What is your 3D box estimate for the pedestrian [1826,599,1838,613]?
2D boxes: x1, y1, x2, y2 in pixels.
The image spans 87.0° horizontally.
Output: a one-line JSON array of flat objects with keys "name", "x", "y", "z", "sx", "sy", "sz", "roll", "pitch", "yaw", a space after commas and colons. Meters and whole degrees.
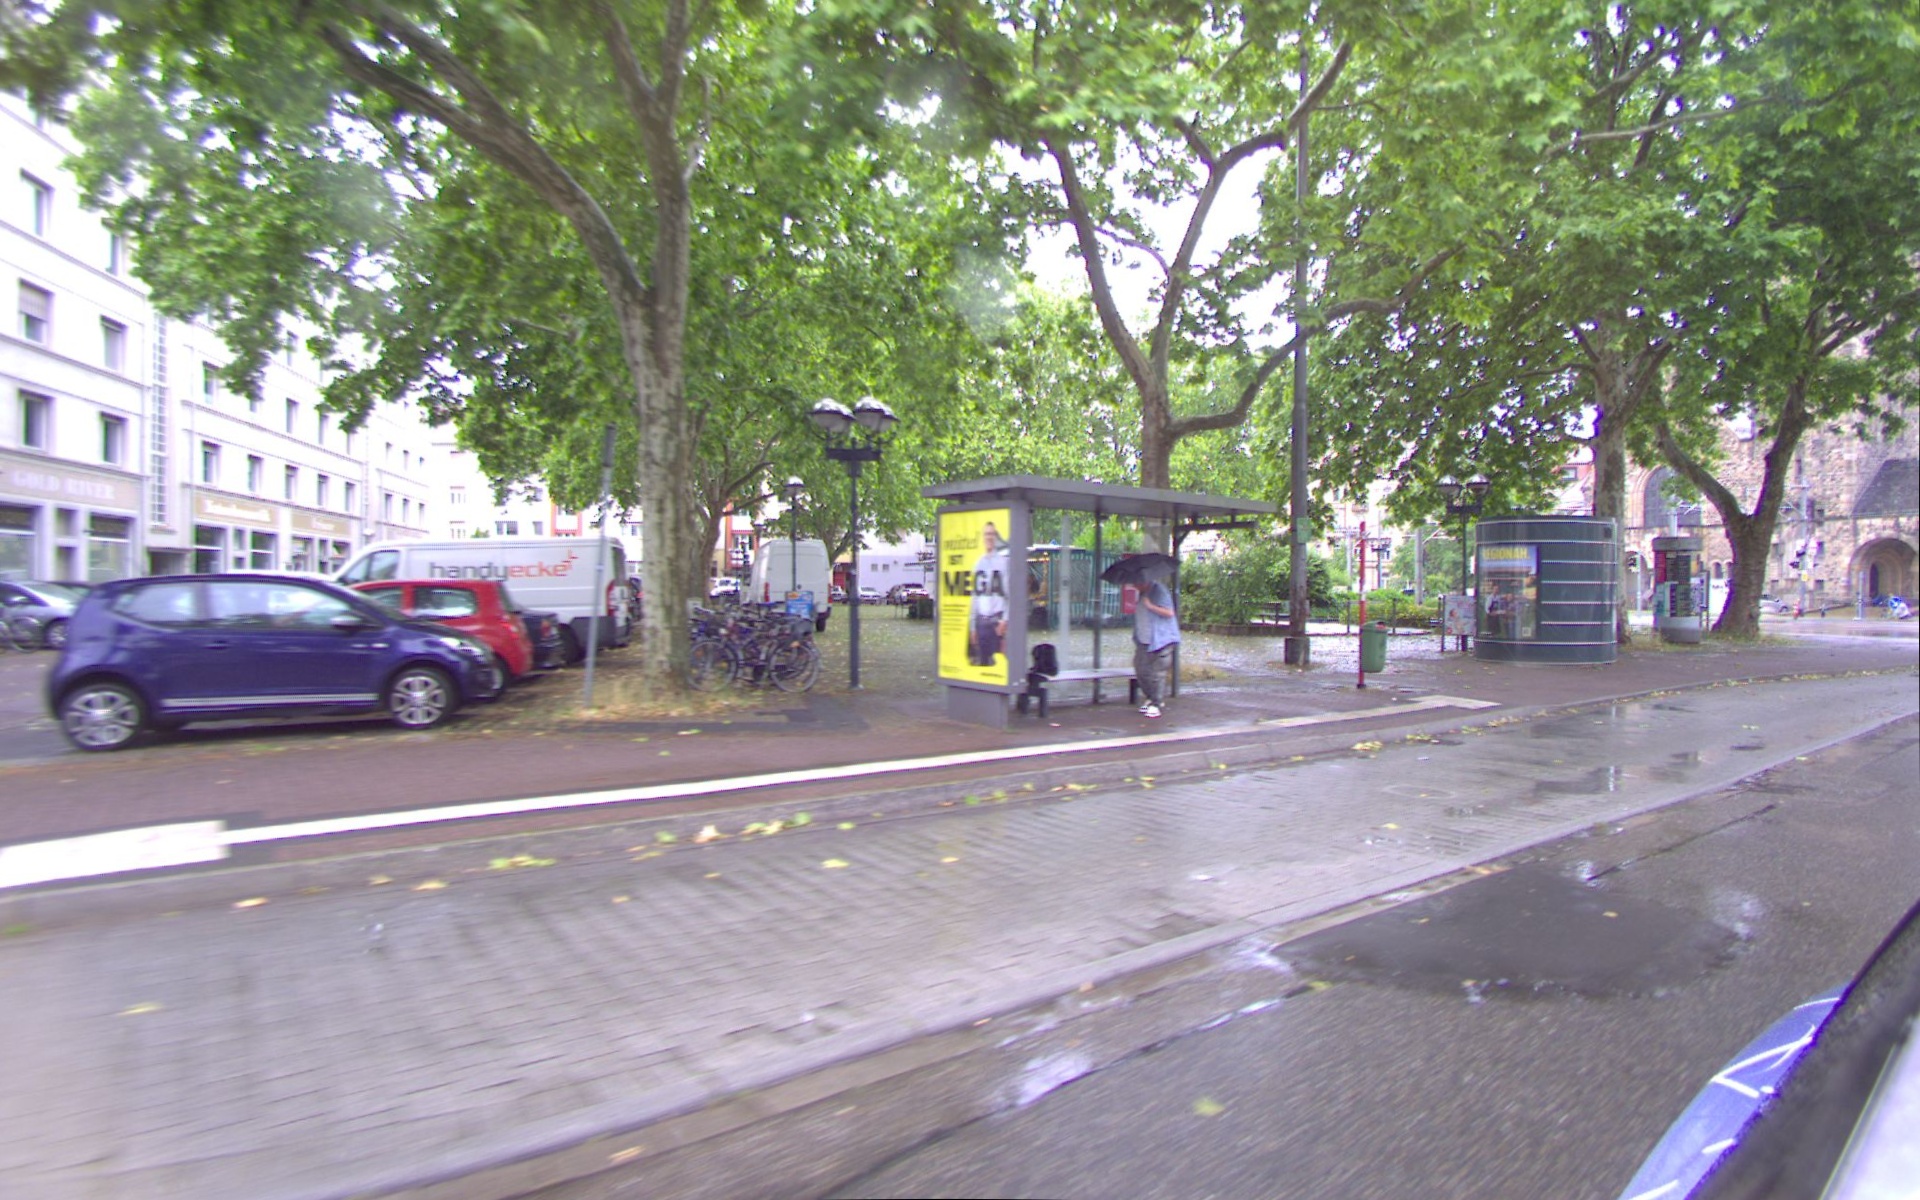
[{"name": "pedestrian", "x": 56.607, "y": 0.414, "z": 65.703, "sx": 0.388, "sy": 0.895, "sz": 0.457, "roll": 1, "pitch": 0, "yaw": -18}]

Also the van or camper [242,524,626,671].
[{"name": "van or camper", "x": -8.628, "y": -0.061, "z": 17.201, "sx": 5.317, "sy": 2.259, "sz": 2.409, "roll": 0, "pitch": 1, "yaw": -10}]

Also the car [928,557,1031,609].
[{"name": "car", "x": 0.772, "y": -0.684, "z": 41.489, "sx": 3.788, "sy": 2.039, "sz": 1.959, "roll": 0, "pitch": 1, "yaw": -16}]

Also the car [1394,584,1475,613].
[{"name": "car", "x": 27.938, "y": -0.100, "z": 59.730, "sx": 1.754, "sy": 1.620, "sz": 4.565, "roll": 1, "pitch": 1, "yaw": -15}]

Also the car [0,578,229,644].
[{"name": "car", "x": -22.391, "y": 0.294, "z": 26.748, "sx": 4.533, "sy": 1.649, "sz": 2.003, "roll": 0, "pitch": -2, "yaw": -15}]

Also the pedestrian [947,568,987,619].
[{"name": "pedestrian", "x": 0.195, "y": -0.197, "z": 28.699, "sx": 0.731, "sy": 1.415, "sz": 1.049, "roll": 0, "pitch": 1, "yaw": -26}]

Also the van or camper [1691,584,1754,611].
[{"name": "van or camper", "x": 56.839, "y": -0.198, "z": 75.462, "sx": 3.848, "sy": 1.749, "sz": 1.652, "roll": -3, "pitch": 2, "yaw": -14}]

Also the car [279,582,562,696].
[{"name": "car", "x": -7.461, "y": 0.488, "z": 14.295, "sx": 3.194, "sy": 1.353, "sz": 1.591, "roll": -2, "pitch": 2, "yaw": -14}]

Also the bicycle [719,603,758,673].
[{"name": "bicycle", "x": -3.571, "y": 0.571, "z": 16.210, "sx": 0.523, "sy": 0.980, "sz": 2.264, "roll": 0, "pitch": 1, "yaw": -15}]

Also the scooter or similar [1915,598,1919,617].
[{"name": "scooter or similar", "x": 55.807, "y": 0.439, "z": 58.633, "sx": 0.907, "sy": 1.062, "sz": 0.515, "roll": 1, "pitch": 0, "yaw": -36}]

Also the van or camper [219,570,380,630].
[{"name": "van or camper", "x": -24.157, "y": 0.018, "z": 37.197, "sx": 4.533, "sy": 2.118, "sz": 2.003, "roll": 0, "pitch": -2, "yaw": -15}]

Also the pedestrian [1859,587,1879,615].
[{"name": "pedestrian", "x": 56.372, "y": 0.078, "z": 62.775, "sx": 0.622, "sy": 1.724, "sz": 0.678, "roll": 1, "pitch": 0, "yaw": 0}]

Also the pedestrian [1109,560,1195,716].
[{"name": "pedestrian", "x": 2.175, "y": 0.403, "z": 11.474, "sx": 0.654, "sy": 1.690, "sz": 0.717, "roll": 0, "pitch": 0, "yaw": -42}]

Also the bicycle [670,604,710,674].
[{"name": "bicycle", "x": -4.278, "y": 0.581, "z": 16.066, "sx": 0.573, "sy": 0.980, "sz": 2.259, "roll": 0, "pitch": 1, "yaw": -15}]

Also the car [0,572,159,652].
[{"name": "car", "x": -20.490, "y": 0.278, "z": 21.869, "sx": 4.533, "sy": 1.649, "sz": 2.003, "roll": 0, "pitch": -2, "yaw": -15}]

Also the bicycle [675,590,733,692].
[{"name": "bicycle", "x": -3.518, "y": 0.511, "z": 13.822, "sx": 0.695, "sy": 1.273, "sz": 1.845, "roll": 0, "pitch": 1, "yaw": -17}]

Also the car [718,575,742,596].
[{"name": "car", "x": -16.277, "y": -1.041, "z": 71.680, "sx": 1.642, "sy": 1.470, "sz": 4.008, "roll": 0, "pitch": 1, "yaw": -12}]

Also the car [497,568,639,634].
[{"name": "car", "x": -12.291, "y": -0.002, "z": 31.950, "sx": 3.917, "sy": 1.860, "sz": 1.843, "roll": -2, "pitch": 1, "yaw": -13}]

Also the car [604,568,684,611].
[{"name": "car", "x": -17.401, "y": -0.594, "z": 55.890, "sx": 4.013, "sy": 2.230, "sz": 1.557, "roll": -2, "pitch": 1, "yaw": -13}]

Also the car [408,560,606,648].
[{"name": "car", "x": -10.643, "y": 0.044, "z": 24.122, "sx": 3.917, "sy": 1.860, "sz": 2.166, "roll": -2, "pitch": 1, "yaw": -13}]

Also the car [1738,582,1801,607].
[{"name": "car", "x": 57.764, "y": -0.407, "z": 72.258, "sx": 3.289, "sy": 1.593, "sz": 1.740, "roll": -3, "pitch": 1, "yaw": -12}]

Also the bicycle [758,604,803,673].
[{"name": "bicycle", "x": -2.946, "y": 0.594, "z": 16.506, "sx": 0.534, "sy": 0.995, "sz": 2.294, "roll": 0, "pitch": 1, "yaw": -15}]

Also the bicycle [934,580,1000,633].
[{"name": "bicycle", "x": 0.170, "y": 0.147, "z": 28.732, "sx": 0.736, "sy": 1.394, "sz": 2.712, "roll": 0, "pitch": 1, "yaw": -26}]

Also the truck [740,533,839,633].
[{"name": "truck", "x": -5.375, "y": -0.529, "z": 31.124, "sx": 2.220, "sy": 2.733, "sz": 6.414, "roll": 0, "pitch": 1, "yaw": -17}]

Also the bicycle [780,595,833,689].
[{"name": "bicycle", "x": -2.182, "y": 0.544, "z": 14.206, "sx": 0.488, "sy": 1.210, "sz": 1.771, "roll": 0, "pitch": 1, "yaw": -17}]

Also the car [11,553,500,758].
[{"name": "car", "x": -6.303, "y": 0.400, "z": 9.562, "sx": 3.450, "sy": 1.570, "sz": 1.697, "roll": -2, "pitch": 2, "yaw": -22}]

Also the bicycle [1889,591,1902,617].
[{"name": "bicycle", "x": 55.145, "y": 0.229, "z": 59.675, "sx": 0.531, "sy": 1.485, "sz": 1.910, "roll": 1, "pitch": 0, "yaw": 42}]

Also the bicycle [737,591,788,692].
[{"name": "bicycle", "x": -2.760, "y": 0.527, "z": 14.015, "sx": 0.514, "sy": 1.273, "sz": 1.845, "roll": 0, "pitch": 1, "yaw": -17}]

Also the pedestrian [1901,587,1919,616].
[{"name": "pedestrian", "x": 55.528, "y": 0.109, "z": 59.157, "sx": 0.676, "sy": 1.684, "sz": 0.605, "roll": 1, "pitch": 0, "yaw": -35}]

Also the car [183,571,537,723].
[{"name": "car", "x": -6.852, "y": 0.451, "z": 11.875, "sx": 3.321, "sy": 1.474, "sz": 1.532, "roll": -3, "pitch": 2, "yaw": -28}]

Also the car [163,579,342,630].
[{"name": "car", "x": -23.812, "y": 0.165, "z": 34.266, "sx": 4.533, "sy": 1.649, "sz": 2.003, "roll": 0, "pitch": -2, "yaw": -15}]

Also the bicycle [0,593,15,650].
[{"name": "bicycle", "x": -19.559, "y": 0.416, "z": 19.484, "sx": 1.983, "sy": 1.113, "sz": 0.538, "roll": 0, "pitch": 0, "yaw": -15}]
